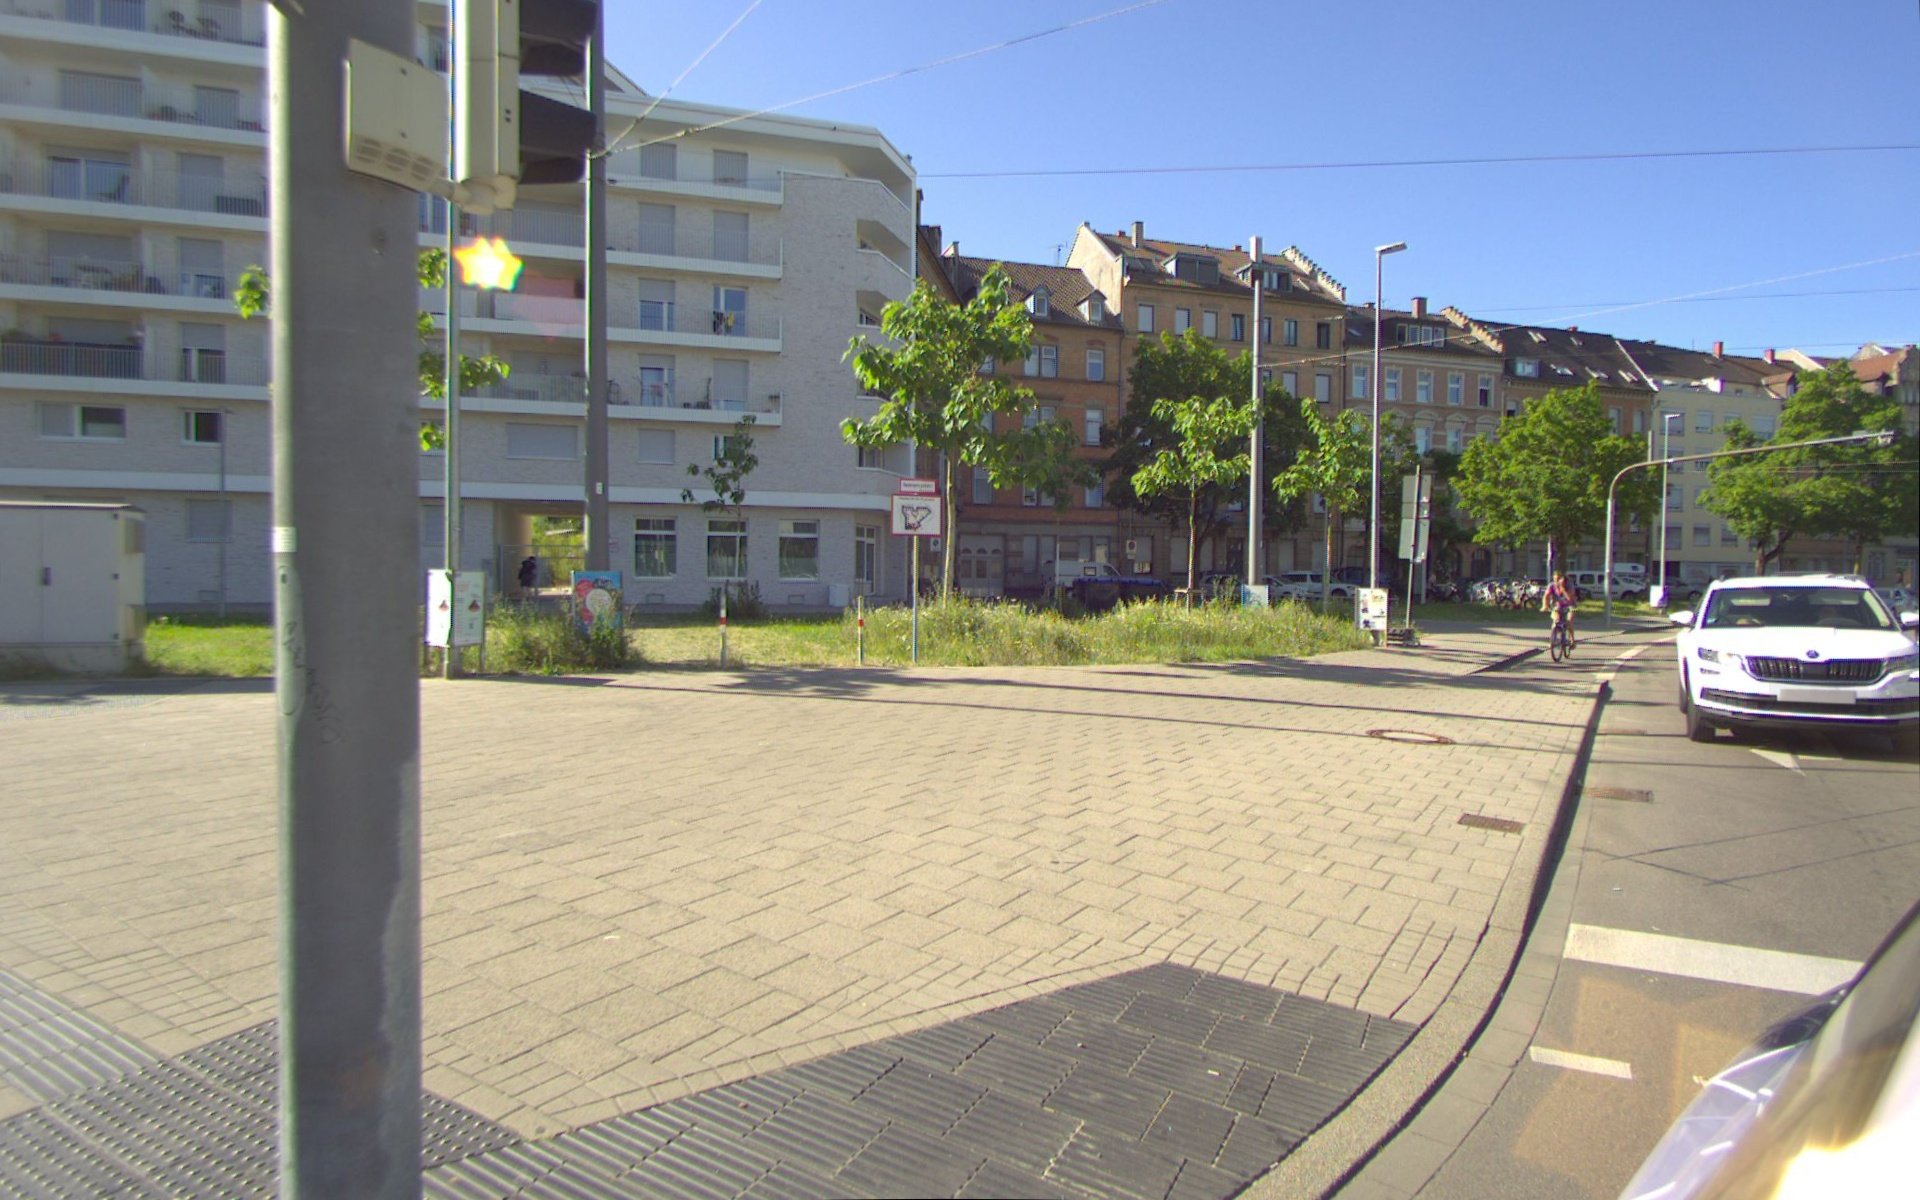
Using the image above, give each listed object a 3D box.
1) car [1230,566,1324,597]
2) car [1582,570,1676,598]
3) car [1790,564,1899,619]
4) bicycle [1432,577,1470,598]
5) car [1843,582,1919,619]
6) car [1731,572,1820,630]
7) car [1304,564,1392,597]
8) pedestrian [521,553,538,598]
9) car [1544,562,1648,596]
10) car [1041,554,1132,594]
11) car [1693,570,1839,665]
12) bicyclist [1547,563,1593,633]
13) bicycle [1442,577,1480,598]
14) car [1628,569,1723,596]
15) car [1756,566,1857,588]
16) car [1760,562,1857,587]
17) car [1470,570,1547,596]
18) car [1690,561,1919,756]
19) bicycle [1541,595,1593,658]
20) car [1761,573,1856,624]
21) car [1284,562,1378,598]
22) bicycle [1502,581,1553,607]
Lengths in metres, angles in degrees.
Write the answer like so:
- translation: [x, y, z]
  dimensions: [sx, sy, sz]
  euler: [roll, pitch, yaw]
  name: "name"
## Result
- translation: [15.579, -0.918, 49.800]
  dimensions: [3.978, 1.482, 1.973]
  euler: [1, 1, 38]
  name: "car"
- translation: [38.168, -0.929, 57.758]
  dimensions: [4.376, 1.525, 1.973]
  euler: [1, 2, 38]
  name: "car"
- translation: [34.003, -0.354, 38.893]
  dimensions: [4.563, 2.006, 1.876]
  euler: [-1, 1, -32]
  name: "car"
- translation: [24.453, -0.646, 50.472]
  dimensions: [0.443, 1.037, 1.764]
  euler: [0, 1, -29]
  name: "bicycle"
- translation: [38.706, 0.000, 42.106]
  dimensions: [3.831, 1.465, 1.877]
  euler: [-1, 1, -32]
  name: "car"
- translation: [23.797, -0.034, 29.647]
  dimensions: [1.864, 1.575, 3.947]
  euler: [1, 2, 37]
  name: "car"
- translation: [20.453, -1.061, 53.391]
  dimensions: [3.978, 1.682, 1.973]
  euler: [1, 1, 38]
  name: "car"
- translation: [-15.928, -0.915, 37.463]
  dimensions: [0.512, 1.668, 0.472]
  euler: [0, 1, -12]
  name: "pedestrian"
- translation: [35.327, -1.175, 56.250]
  dimensions: [4.768, 1.793, 1.709]
  euler: [1, 1, 38]
  name: "car"
- translation: [6.945, -1.400, 55.666]
  dimensions: [4.544, 2.139, 2.004]
  euler: [0, 1, -15]
  name: "car"
- translation: [15.005, 0.243, 19.040]
  dimensions: [1.863, 1.575, 3.950]
  euler: [1, 2, 35]
  name: "car"
- translation: [12.659, -0.060, 21.002]
  dimensions: [0.693, 1.393, 0.728]
  euler: [3, 4, 37]
  name: "bicyclist"
- translation: [25.126, -0.656, 50.772]
  dimensions: [0.443, 1.037, 1.764]
  euler: [0, 1, -29]
  name: "bicycle"
- translation: [41.187, -1.011, 58.322]
  dimensions: [4.376, 1.479, 1.973]
  euler: [1, 2, 38]
  name: "car"
- translation: [50.336, -1.404, 60.222]
  dimensions: [1.966, 1.249, 4.393]
  euler: [-1, 2, -42]
  name: "car"
- translation: [52.303, -1.561, 62.421]
  dimensions: [1.966, 1.479, 4.393]
  euler: [-1, 2, -42]
  name: "car"
- translation: [29.554, -0.930, 54.596]
  dimensions: [3.447, 1.349, 1.709]
  euler: [1, 1, 38]
  name: "car"
- translation: [8.917, 0.460, 10.679]
  dimensions: [1.863, 1.651, 4.284]
  euler: [-1, 1, 35]
  name: "car"
- translation: [12.516, 0.517, 20.843]
  dimensions: [0.693, 1.118, 1.985]
  euler: [3, 4, 37]
  name: "bicycle"
- translation: [29.074, -0.090, 34.664]
  dimensions: [3.840, 1.634, 1.872]
  euler: [-1, 2, -40]
  name: "car"
- translation: [18.472, -1.009, 50.422]
  dimensions: [3.978, 1.682, 1.973]
  euler: [1, 1, 38]
  name: "car"
- translation: [23.182, -0.256, 41.368]
  dimensions: [1.733, 1.037, 0.567]
  euler: [0, 1, 9]
  name: "bicycle"
